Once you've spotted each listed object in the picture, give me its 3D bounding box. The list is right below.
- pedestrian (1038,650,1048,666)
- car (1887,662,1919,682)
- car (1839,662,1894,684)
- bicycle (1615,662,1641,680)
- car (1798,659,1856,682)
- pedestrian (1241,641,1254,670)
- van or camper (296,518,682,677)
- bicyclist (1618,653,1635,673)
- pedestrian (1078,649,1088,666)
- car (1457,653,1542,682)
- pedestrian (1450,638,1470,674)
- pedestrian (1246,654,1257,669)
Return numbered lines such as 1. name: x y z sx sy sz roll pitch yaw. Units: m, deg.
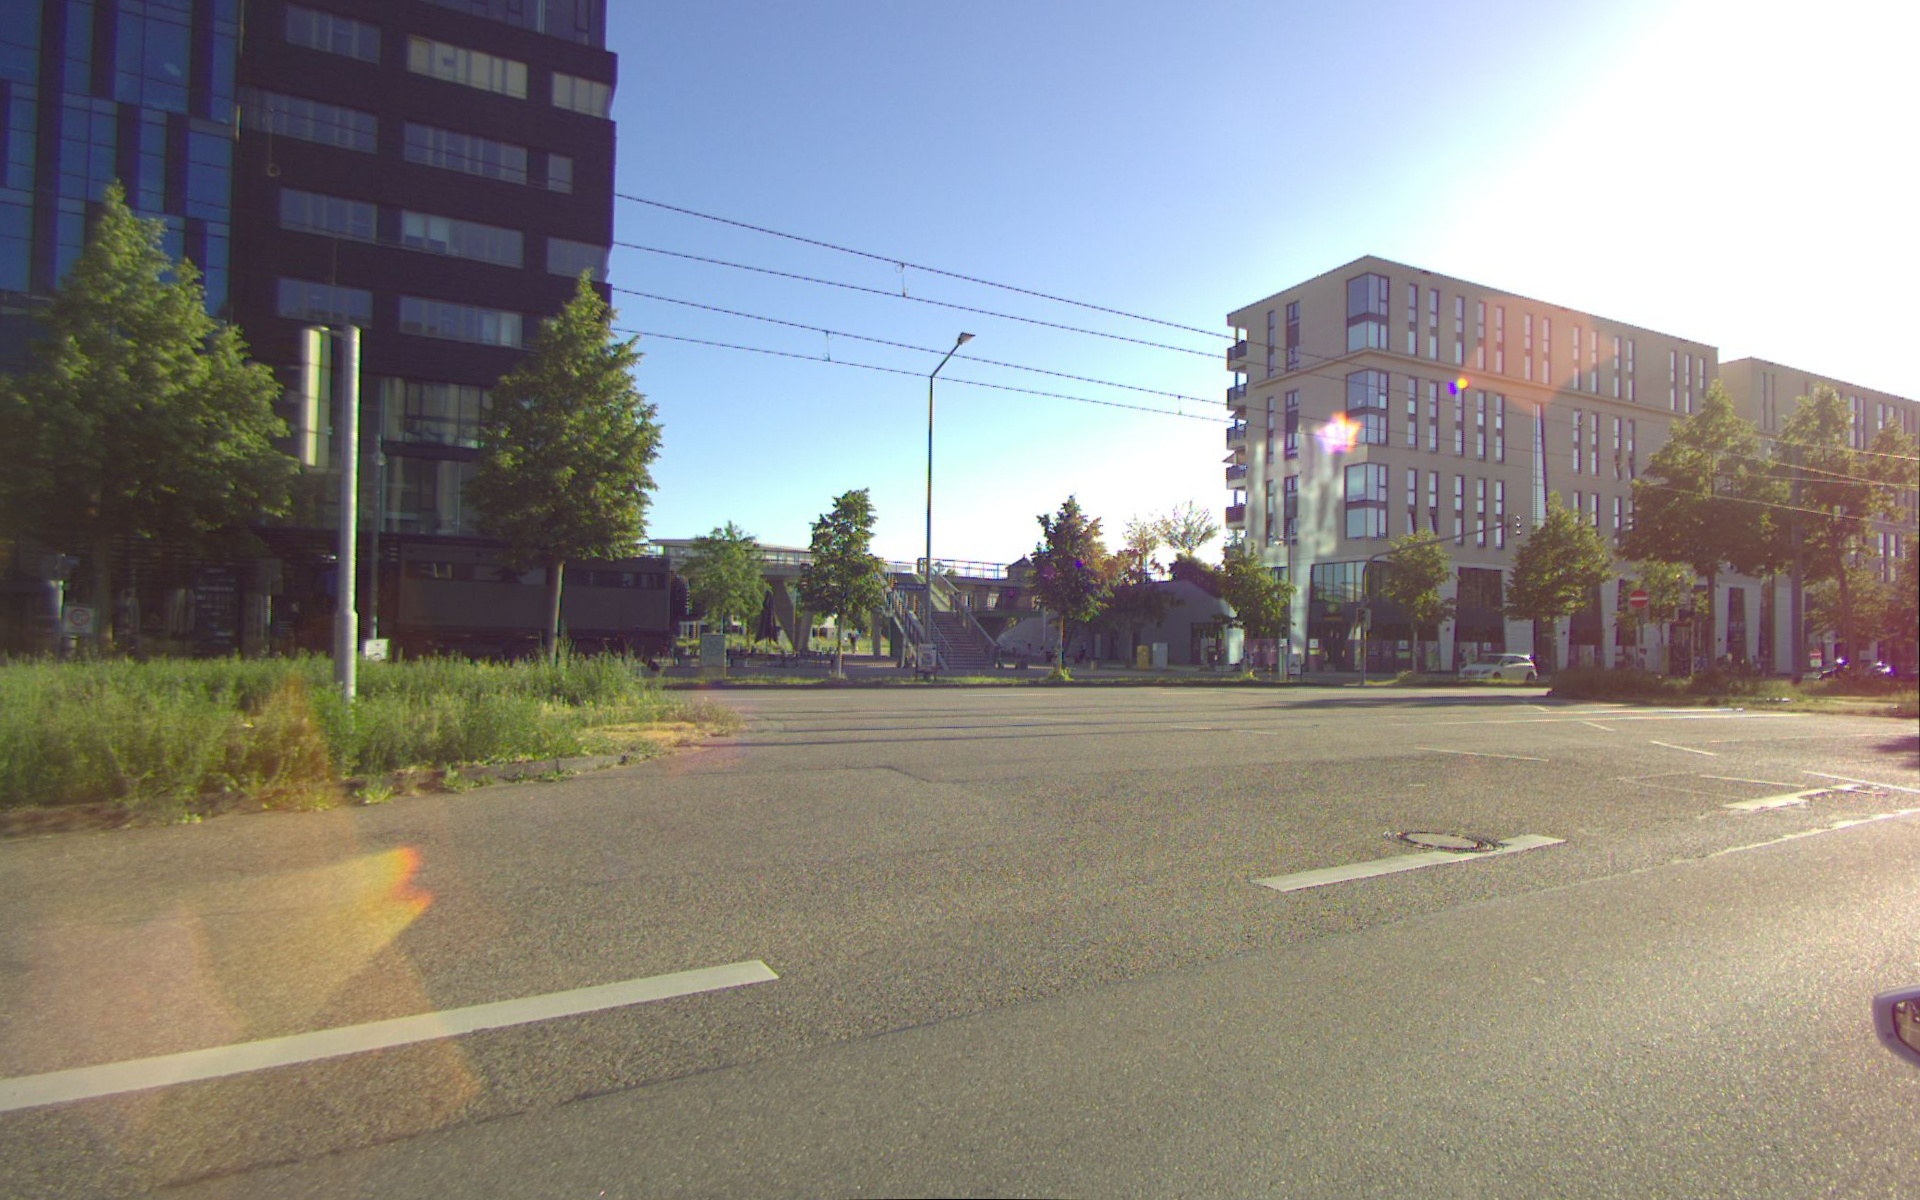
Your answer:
1. pedestrian: 6.231 4.341 75.302 0.592 1.140 0.437 2 -1 -24
2. car: 67.465 5.079 71.079 3.664 1.360 1.574 2 -2 -27
3. car: 61.355 4.943 68.002 3.664 1.360 1.574 2 -2 -27
4. bicycle: 43.312 4.588 65.148 1.612 1.125 0.528 2 -1 -19
5. car: 56.119 4.572 64.988 3.664 1.360 1.574 2 -2 -27
6. pedestrian: 18.186 3.511 63.518 0.589 1.794 0.672 1 -1 28
7. van or camper: -13.916 0.126 30.634 10.095 4.247 2.744 2 -2 -26
8. bicyclist: 43.216 4.078 65.115 0.694 1.310 0.578 2 -1 -18
9. pedestrian: 8.765 4.092 71.578 0.592 1.140 0.437 2 -1 -24
10. car: 27.253 3.411 50.721 4.414 1.360 1.574 2 -2 -27
11. pedestrian: 26.547 2.978 53.342 0.791 1.836 0.576 2 -1 -30
12. pedestrian: 18.697 3.971 64.430 0.589 0.932 0.433 1 -1 28
